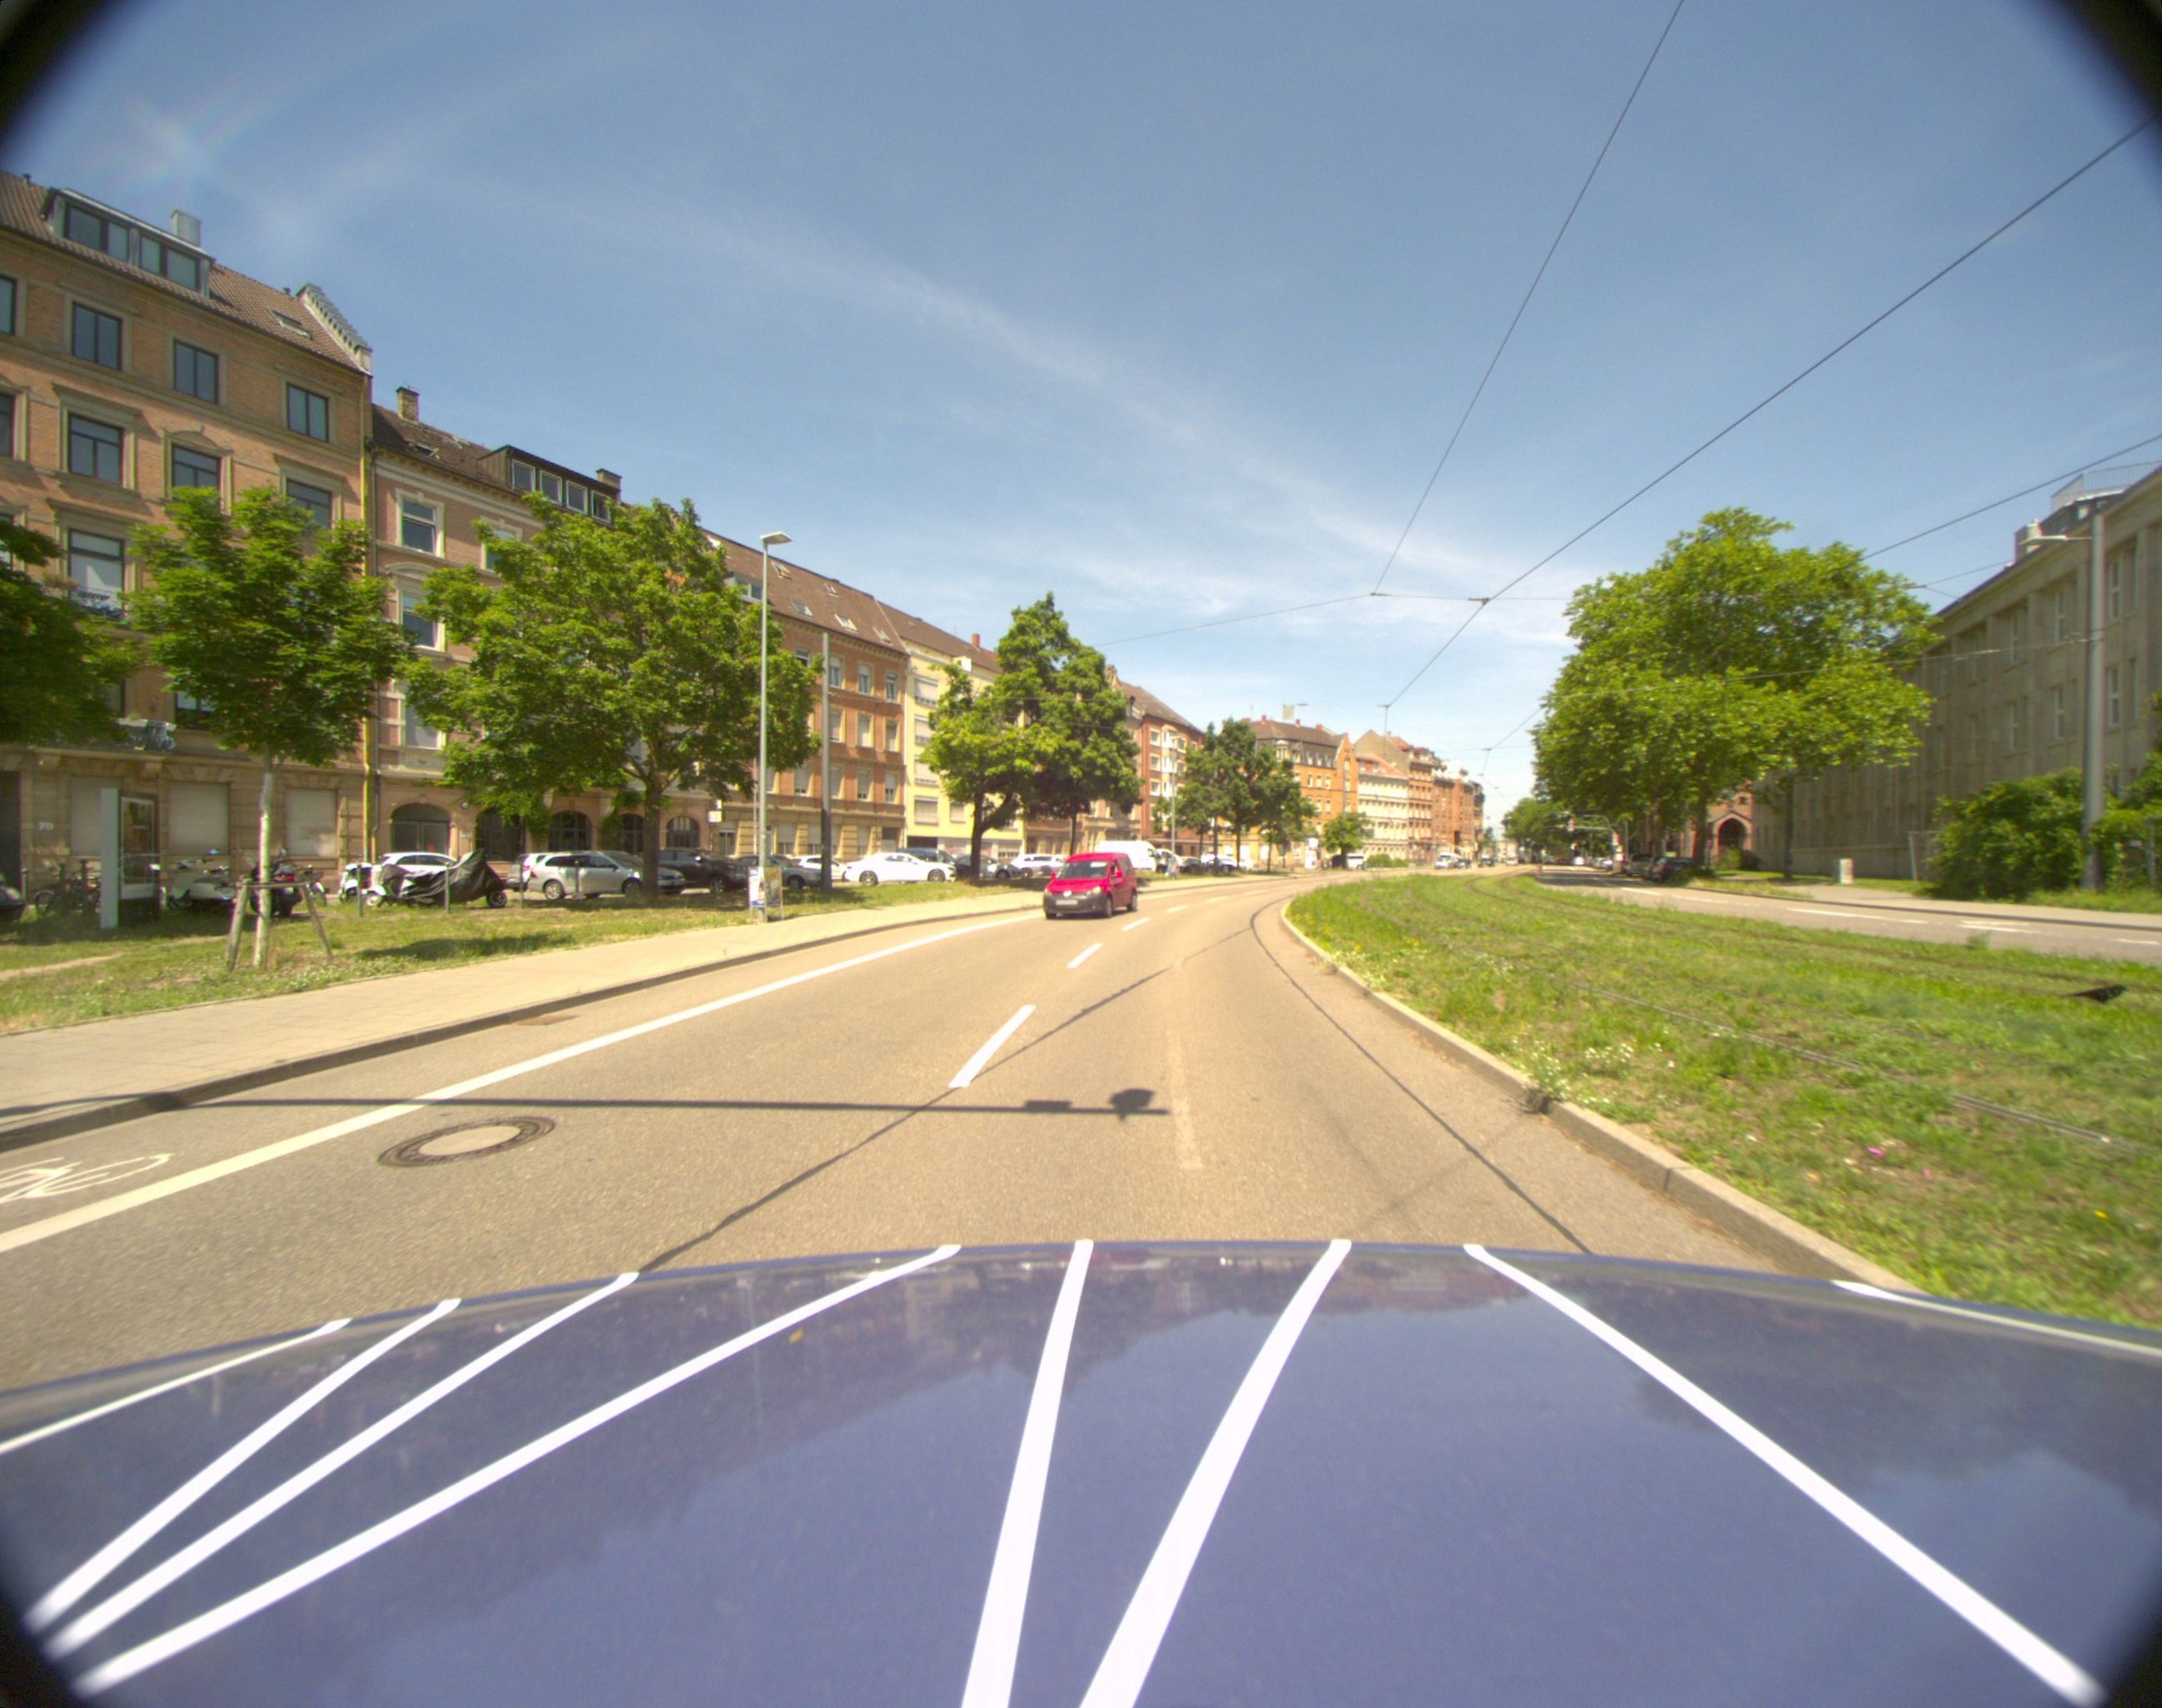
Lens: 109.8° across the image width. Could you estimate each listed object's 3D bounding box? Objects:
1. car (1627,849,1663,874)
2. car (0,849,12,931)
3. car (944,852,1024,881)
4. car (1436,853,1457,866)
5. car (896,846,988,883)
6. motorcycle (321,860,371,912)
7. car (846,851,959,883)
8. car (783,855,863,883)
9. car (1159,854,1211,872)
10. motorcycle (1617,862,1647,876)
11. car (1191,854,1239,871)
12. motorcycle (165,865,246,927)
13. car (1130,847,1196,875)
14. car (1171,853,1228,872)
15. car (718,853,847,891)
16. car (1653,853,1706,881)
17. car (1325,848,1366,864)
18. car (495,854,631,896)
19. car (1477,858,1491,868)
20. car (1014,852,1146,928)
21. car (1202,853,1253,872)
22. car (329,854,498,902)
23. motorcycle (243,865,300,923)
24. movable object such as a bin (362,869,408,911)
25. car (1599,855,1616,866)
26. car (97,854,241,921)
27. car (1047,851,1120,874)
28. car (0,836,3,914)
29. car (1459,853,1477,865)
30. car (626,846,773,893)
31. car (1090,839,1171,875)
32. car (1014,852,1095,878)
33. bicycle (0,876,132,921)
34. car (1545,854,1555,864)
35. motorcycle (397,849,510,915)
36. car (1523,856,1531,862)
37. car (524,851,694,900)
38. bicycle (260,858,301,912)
[{"bbox_3d":[43.707,0.580,58.990,1.994,1.800,4.309,-2,-1,34],"label":"car"},{"bbox_3d":[-20.694,0.660,12.593,3.865,1.424,1.608,-1,0,3],"label":"car"},{"bbox_3d":[-4.981,0.627,39.513,3.998,1.392,1.712,-1,0,-4],"label":"car"},{"bbox_3d":[45.939,0.623,95.451,1.796,1.564,4.008,-2,-1,33],"label":"car"},{"bbox_3d":[-6.741,0.516,37.177,3.995,1.652,1.973,-1,0,6],"label":"car"},{"bbox_3d":[-18.436,0.779,19.093,0.814,1.229,2.079,-1,0,-42],"label":"motorcycle"},{"bbox_3d":[-7.981,0.576,34.442,4.788,1.305,2.148,-1,0,-9],"label":"car"},{"bbox_3d":[-13.778,0.780,40.730,1.780,1.411,3.723,-2,-1,31],"label":"car"},{"bbox_3d":[8.272,0.714,60.480,3.993,1.378,1.825,-1,0,11],"label":"car"},{"bbox_3d":[45.958,1.223,63.366,1.870,1.062,0.727,-3,0,1],"label":"motorcycle"},{"bbox_3d":[11.654,0.755,65.905,3.993,1.391,1.825,-1,0,11],"label":"car"},{"bbox_3d":[-16.733,0.793,14.513,1.823,1.113,0.529,-1,0,25],"label":"motorcycle"},{"bbox_3d":[6.195,0.533,57.866,4.843,1.961,2.077,-1,0,3],"label":"car"},{"bbox_3d":[9.892,0.733,63.404,4.626,1.488,1.967,-1,0,8],"label":"car"},{"bbox_3d":[-11.100,0.656,28.390,3.994,1.305,1.974,-1,0,10],"label":"car"},{"bbox_3d":[33.059,0.689,42.058,1.589,1.415,4.331,-1,-1,28],"label":"car"},{"bbox_3d":[34.224,0.310,98.388,4.843,1.926,2.171,-1,0,22],"label":"car"},{"bbox_3d":[-20.437,0.790,30.139,1.837,1.521,4.008,-1,-1,30],"label":"car"},{"bbox_3d":[65.844,1.455,123.967,1.797,1.564,4.008,-1,-1,31],"label":"car"},{"bbox_3d":[0.155,0.901,21.063,1.857,1.823,5.175,-1,-1,22],"label":"car"},{"bbox_3d":[13.217,0.740,68.705,4.406,1.622,2.002,-1,0,10],"label":"car"},{"bbox_3d":[-22.925,0.784,26.236,1.837,1.521,4.008,-2,-1,34],"label":"car"},{"bbox_3d":[-16.297,0.792,15.290,1.521,1.113,0.479,-2,0,32],"label":"motorcycle"},{"bbox_3d":[-15.935,0.814,17.395,0.986,0.931,0.703,-2,0,43],"label":"movable object such as a bin"},{"bbox_3d":[69.151,0.841,99.836,1.659,1.450,4.229,-1,-1,32],"label":"car"},{"bbox_3d":[-21.032,0.730,17.584,3.989,1.368,1.961,-2,-1,40],"label":"car"},{"bbox_3d":[0.119,0.563,48.023,4.430,1.330,1.971,-1,0,-5],"label":"car"},{"bbox_3d":[-28.350,0.531,17.054,1.921,1.892,4.663,-1,-1,32],"label":"car"},{"bbox_3d":[53.363,0.696,104.775,1.796,1.564,4.008,-2,-1,33],"label":"car"},{"bbox_3d":[-12.940,0.521,25.915,4.087,1.461,1.799,-1,0,5],"label":"car"},{"bbox_3d":[3.519,0.229,54.905,5.550,2.446,2.237,-1,0,-5],"label":"car"},{"bbox_3d":[-1.587,0.647,44.945,4.691,1.419,1.971,-1,0,-5],"label":"car"},{"bbox_3d":[-19.362,0.833,14.525,1.458,0.800,0.498,-1,0,-24],"label":"bicycle"},{"bbox_3d":[111.285,1.121,180.224,1.818,2.283,3.769,-1,0,29],"label":"car"},{"bbox_3d":[-14.130,0.603,17.161,0.675,1.405,1.860,1,1,33],"label":"motorcycle"},{"bbox_3d":[119.592,1.360,203.895,1.747,1.386,4.355,-3,-1,29],"label":"car"},{"bbox_3d":[-14.386,0.655,23.265,4.343,1.368,1.583,-1,0,6],"label":"car"},{"bbox_3d":[-19.351,0.746,18.352,2.079,1.228,0.633,-2,0,42],"label":"bicycle"}]
